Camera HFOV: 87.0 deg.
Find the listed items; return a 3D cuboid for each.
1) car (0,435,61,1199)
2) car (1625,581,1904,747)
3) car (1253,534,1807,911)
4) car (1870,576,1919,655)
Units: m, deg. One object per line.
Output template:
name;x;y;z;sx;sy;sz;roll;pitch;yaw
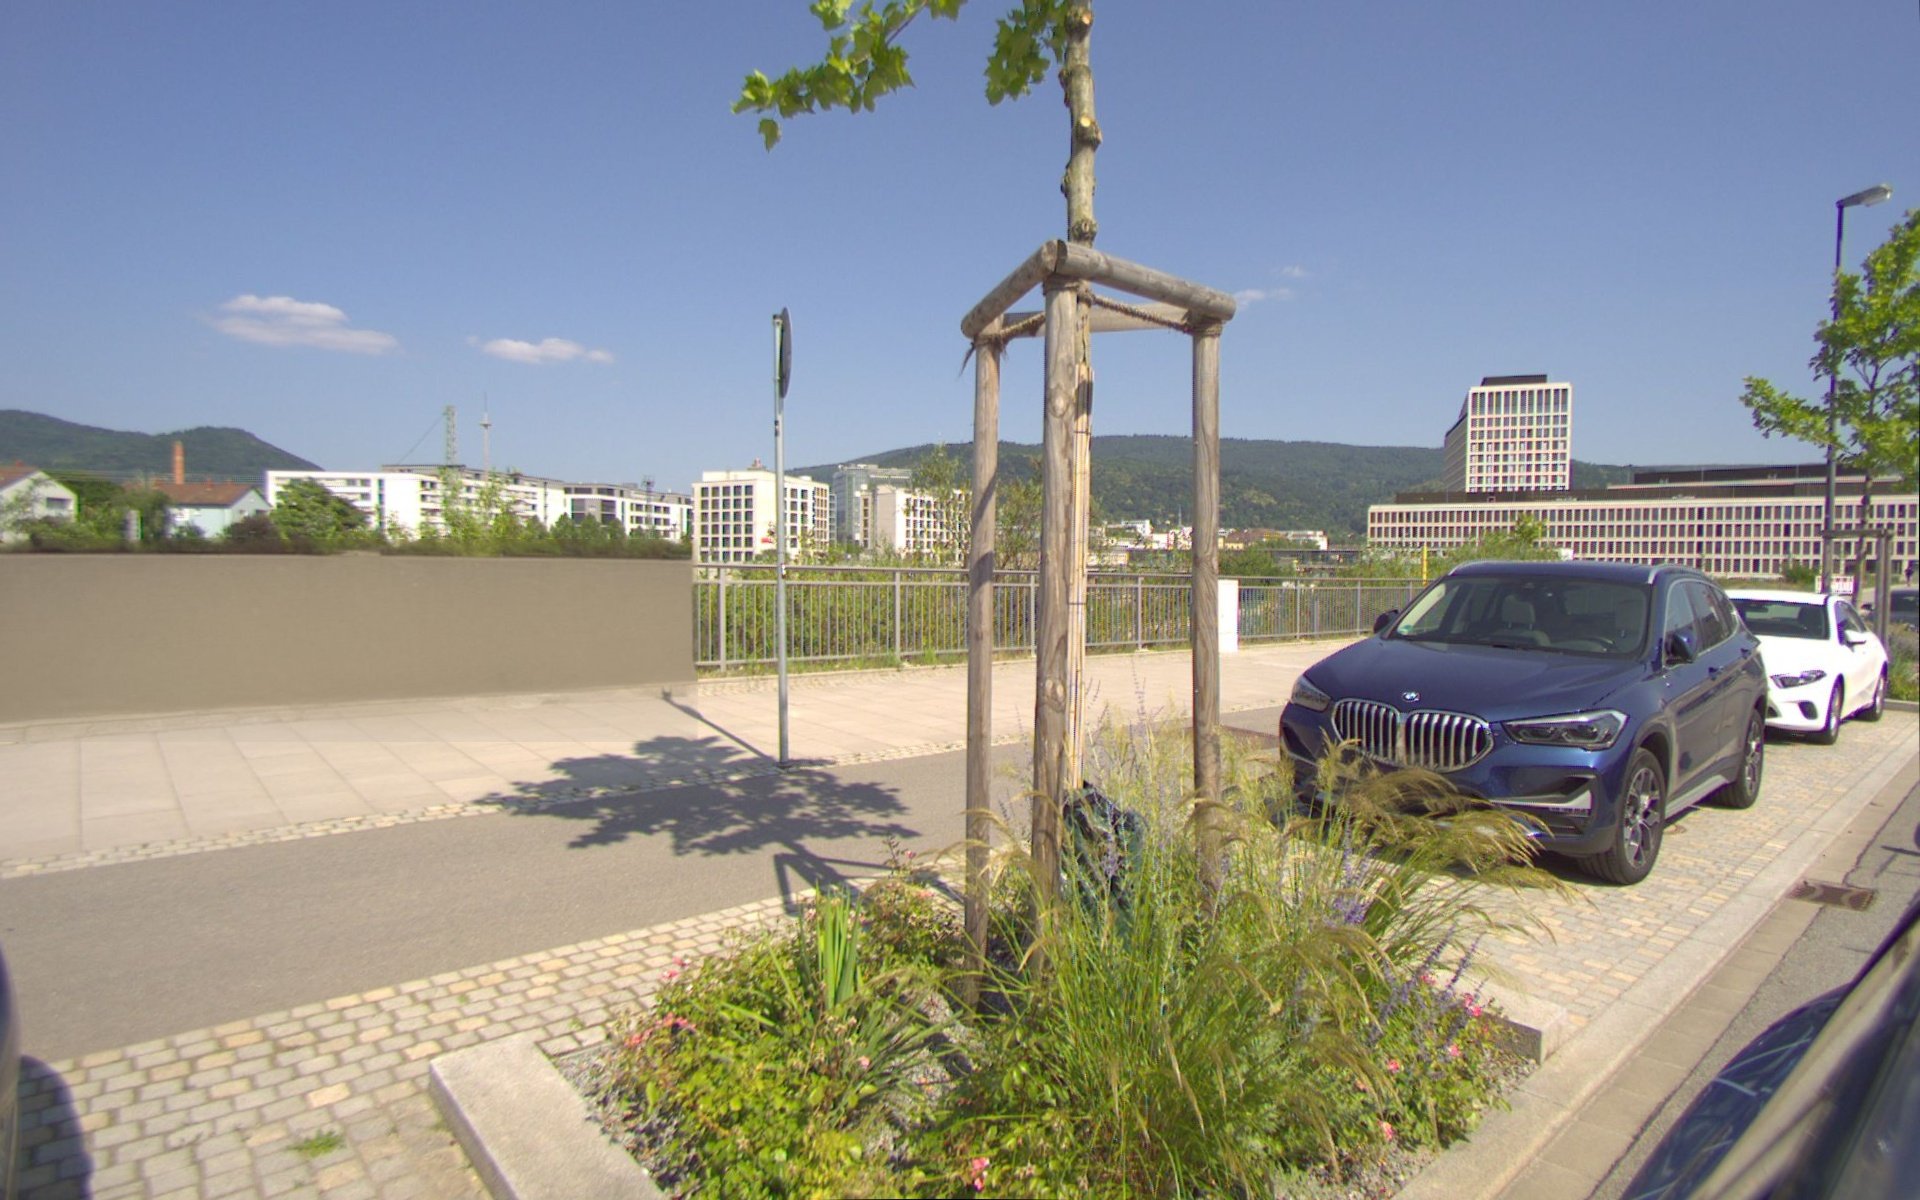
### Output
car;-2.988;0.543;0.379;3.931;1.444;1.663;-1;2;-41
car;8.757;0.547;10.903;3.930;1.473;1.663;-1;0;-41
car;3.802;0.504;6.416;4.164;1.627;1.768;-1;0;-41
car;20.379;0.283;21.073;3.930;1.558;1.663;-1;0;-41
